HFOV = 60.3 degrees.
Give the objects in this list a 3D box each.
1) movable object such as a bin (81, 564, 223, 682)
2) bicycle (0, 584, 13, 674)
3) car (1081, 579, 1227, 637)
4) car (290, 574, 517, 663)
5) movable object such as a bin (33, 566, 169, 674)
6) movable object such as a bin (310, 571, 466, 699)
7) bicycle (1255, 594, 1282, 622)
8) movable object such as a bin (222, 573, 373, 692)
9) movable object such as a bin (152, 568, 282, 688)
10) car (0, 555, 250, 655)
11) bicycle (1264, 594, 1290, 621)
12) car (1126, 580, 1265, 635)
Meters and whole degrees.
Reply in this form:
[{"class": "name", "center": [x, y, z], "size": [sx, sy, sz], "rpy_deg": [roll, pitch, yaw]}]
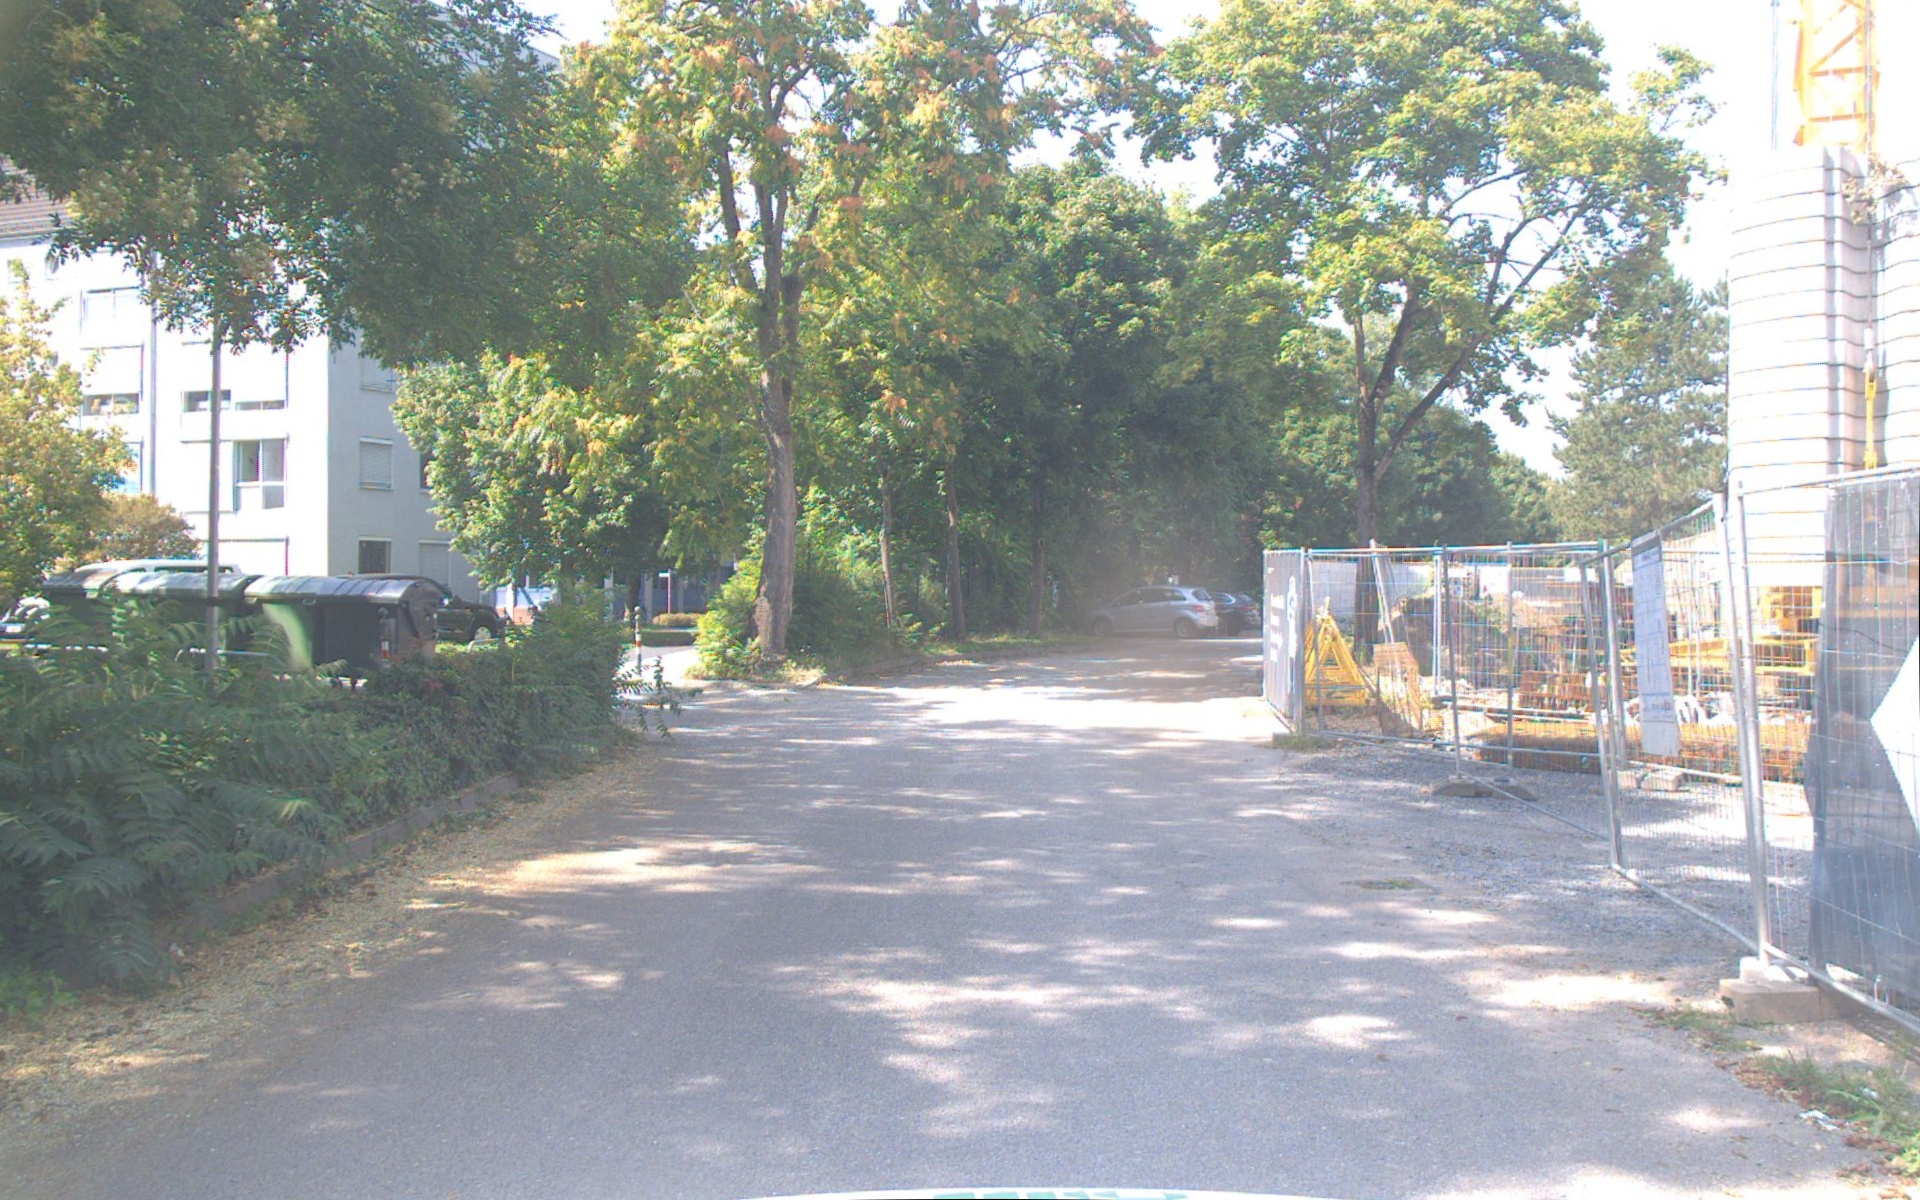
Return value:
[{"class": "movable object such as a bin", "center": [-11.001, 0.298, 22.557], "size": [1.178, 1.522, 1.250], "rpy_deg": [2, 0, 19]}, {"class": "bicycle", "center": [-15.080, 0.420, 24.703], "size": [2.125, 1.325, 0.608], "rpy_deg": [0, 0, 29]}, {"class": "car", "center": [6.063, 0.221, 51.633], "size": [4.067, 1.640, 1.998], "rpy_deg": [2, 1, 27]}, {"class": "car", "center": [-10.353, 0.307, 31.022], "size": [1.671, 1.554, 3.903], "rpy_deg": [1, 1, 31]}, {"class": "movable object such as a bin", "center": [-12.310, 0.270, 23.734], "size": [1.178, 1.469, 1.250], "rpy_deg": [2, 0, 19]}, {"class": "movable object such as a bin", "center": [-7.204, 0.418, 20.901], "size": [1.339, 1.519, 1.337], "rpy_deg": [1, 0, 11]}, {"class": "bicycle", "center": [12.428, 0.311, 66.569], "size": [0.489, 1.127, 1.796], "rpy_deg": [1, 1, 30]}, {"class": "movable object such as a bin", "center": [-8.617, 0.404, 21.559], "size": [1.300, 1.457, 1.250], "rpy_deg": [2, 0, 19]}, {"class": "movable object such as a bin", "center": [-9.800, 0.351, 21.844], "size": [1.075, 1.507, 1.101], "rpy_deg": [2, 0, 19]}, {"class": "car", "center": [-17.742, 0.063, 34.421], "size": [2.446, 1.914, 5.078], "rpy_deg": [1, 1, 28]}, {"class": "bicycle", "center": [13.160, 0.306, 68.565], "size": [0.489, 1.127, 1.796], "rpy_deg": [1, 1, 30]}, {"class": "car", "center": [7.659, 0.216, 53.790], "size": [4.067, 1.640, 1.998], "rpy_deg": [2, 1, 27]}]
